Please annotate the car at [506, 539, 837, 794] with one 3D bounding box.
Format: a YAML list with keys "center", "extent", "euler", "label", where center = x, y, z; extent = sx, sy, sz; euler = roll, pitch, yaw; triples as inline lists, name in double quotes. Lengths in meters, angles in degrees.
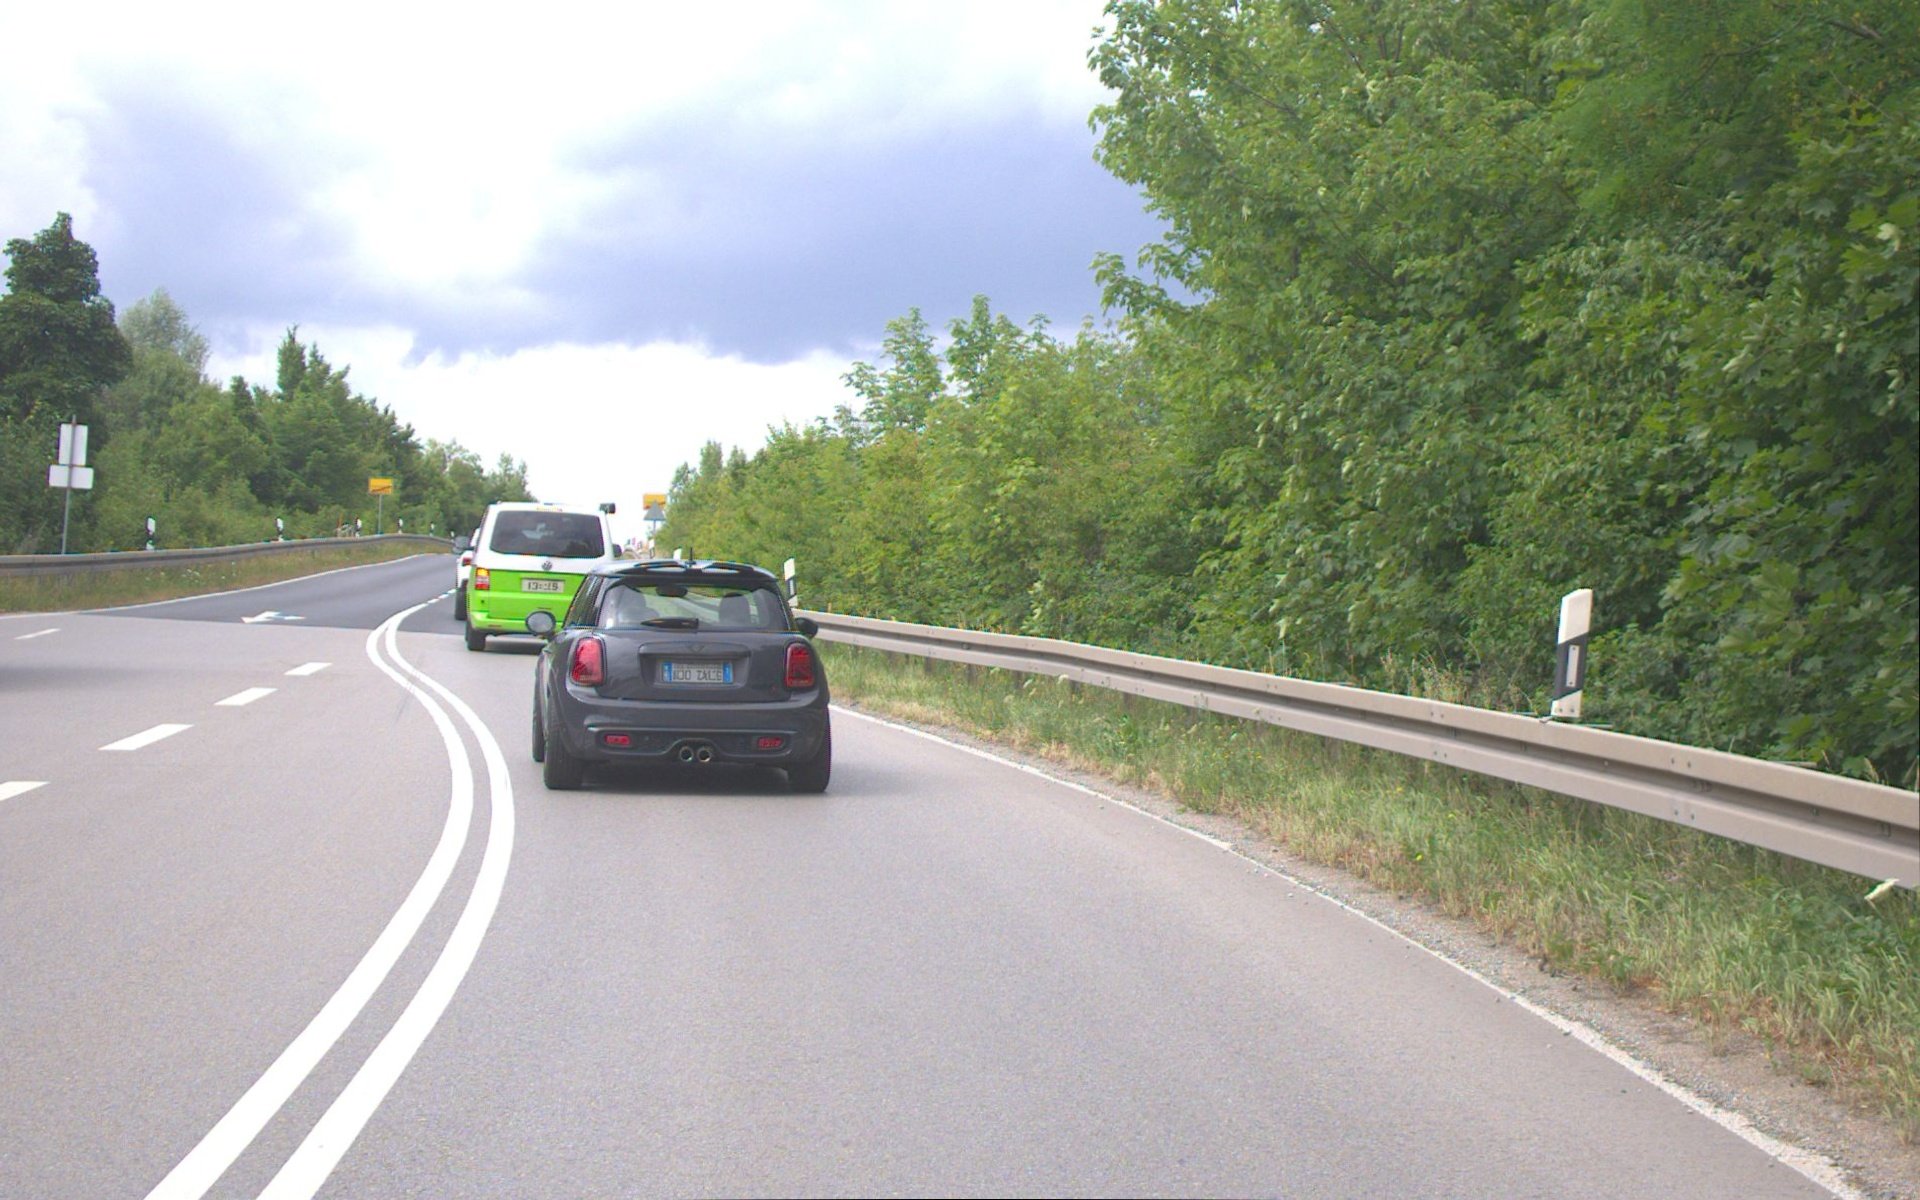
- center: [-1.962, 0.366, 22.339]
  extent: [1.731, 1.451, 4.001]
  euler: [2, 1, -10]
  label: "car"

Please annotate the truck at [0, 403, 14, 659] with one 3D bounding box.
- center: [-10.763, -0.646, 32.265]
  extent: [2.316, 2.592, 6.024]
  euler: [1, 1, -3]
  label: "truck"

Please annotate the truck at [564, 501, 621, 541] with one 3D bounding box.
- center: [-22.932, -4.942, 214.798]
  extent: [2.909, 2.364, 10.453]
  euler: [1, 1, -3]
  label: "truck"

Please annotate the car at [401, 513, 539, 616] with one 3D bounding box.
- center: [-8.188, -0.627, 57.745]
  extent: [1.988, 1.613, 4.154]
  euler: [2, 1, -4]
  label: "car"

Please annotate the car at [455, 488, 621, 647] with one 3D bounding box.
- center: [-5.625, -0.452, 45.456]
  extent: [2.022, 2.006, 4.001]
  euler: [0, 1, -9]
  label: "car"
